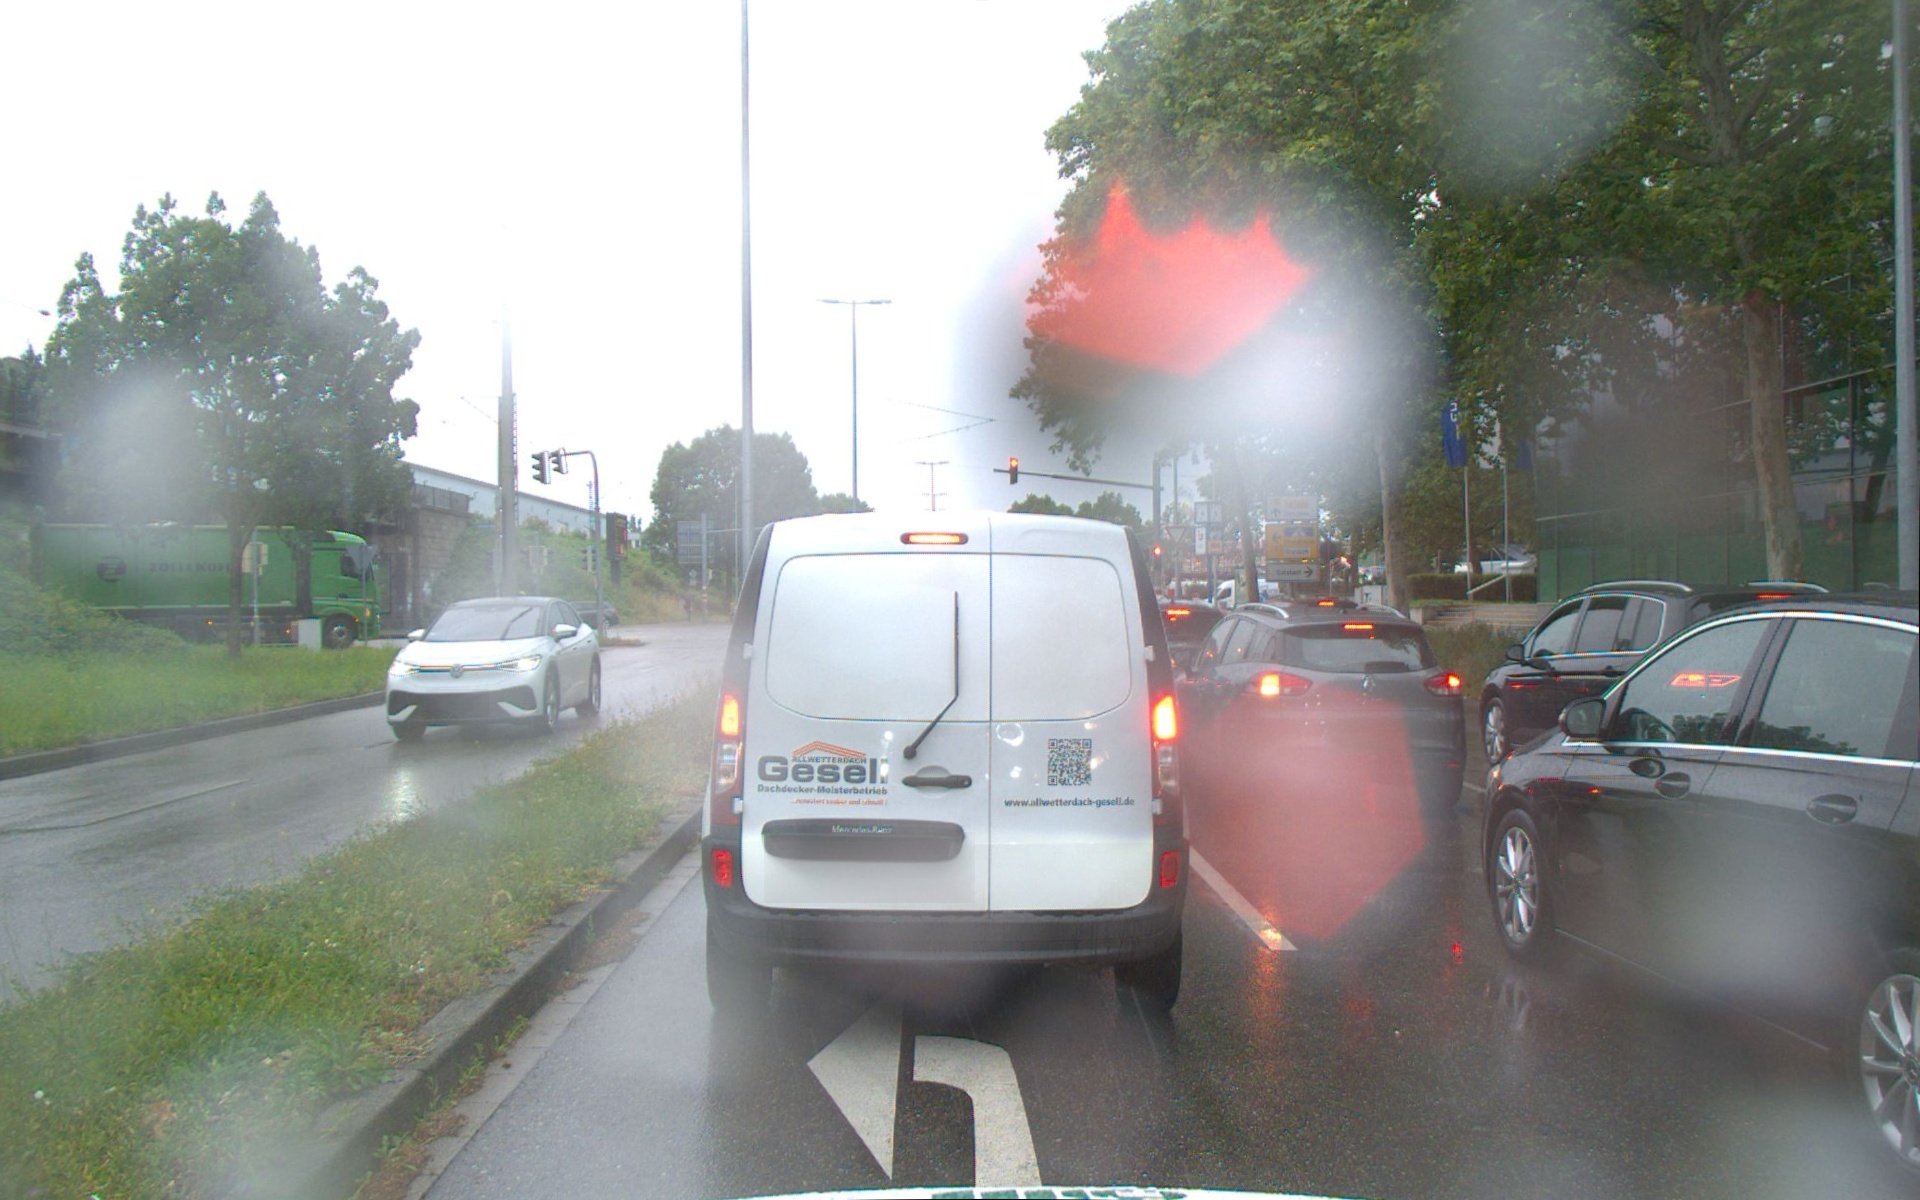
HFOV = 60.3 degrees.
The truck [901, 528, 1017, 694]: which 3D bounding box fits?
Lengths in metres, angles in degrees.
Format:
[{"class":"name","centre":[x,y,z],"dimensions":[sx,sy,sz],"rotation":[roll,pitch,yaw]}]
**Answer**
[{"class":"truck","centre":[-0.082,0.175,27.041],"dimensions":[1.721,2.509,3.998],"rotation":[0,0,-3]}]

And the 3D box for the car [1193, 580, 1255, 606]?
[{"class":"car","centre":[18.519,-0.483,115.960],"dimensions":[3.918,1.743,1.767],"rotation":[1,-2,-13]}]

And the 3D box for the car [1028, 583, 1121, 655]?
[{"class":"car","centre":[2.415,0.367,35.796],"dimensions":[1.677,1.470,3.999],"rotation":[0,0,-1]}]

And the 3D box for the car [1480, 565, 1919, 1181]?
[{"class":"car","centre":[3.241,0.680,5.410],"dimensions":[1.674,1.577,3.998],"rotation":[0,1,-3]}]

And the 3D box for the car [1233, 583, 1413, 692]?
[{"class":"car","centre":[5.631,0.557,26.149],"dimensions":[1.802,1.563,4.110],"rotation":[1,0,-2]}]

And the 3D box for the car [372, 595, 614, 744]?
[{"class":"car","centre":[-5.692,0.772,20.736],"dimensions":[1.923,1.551,4.332],"rotation":[-2,1,-3]}]

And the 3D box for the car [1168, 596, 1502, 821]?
[{"class":"car","centre":[2.761,0.719,13.066],"dimensions":[1.677,1.470,3.999],"rotation":[0,0,-1]}]

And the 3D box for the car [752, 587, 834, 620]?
[{"class":"car","centre":[-8.649,0.180,85.730],"dimensions":[3.953,1.613,1.697],"rotation":[-1,0,-35]}]

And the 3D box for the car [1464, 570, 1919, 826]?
[{"class":"car","centre":[5.735,0.690,13.529],"dimensions":[1.819,1.756,4.188],"rotation":[0,0,-2]}]

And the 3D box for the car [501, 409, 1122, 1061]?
[{"class":"car","centre":[-0.545,0.434,7.251],"dimensions":[1.953,2.049,3.998],"rotation":[0,0,-3]}]

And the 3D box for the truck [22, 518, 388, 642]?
[{"class":"truck","centre":[-23.224,-0.485,51.388],"dimensions":[10.037,3.512,2.622],"rotation":[1,-2,-38]}]

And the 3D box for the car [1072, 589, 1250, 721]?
[{"class":"car","centre":[2.398,0.610,20.628],"dimensions":[1.677,1.470,3.999],"rotation":[0,0,-1]}]
